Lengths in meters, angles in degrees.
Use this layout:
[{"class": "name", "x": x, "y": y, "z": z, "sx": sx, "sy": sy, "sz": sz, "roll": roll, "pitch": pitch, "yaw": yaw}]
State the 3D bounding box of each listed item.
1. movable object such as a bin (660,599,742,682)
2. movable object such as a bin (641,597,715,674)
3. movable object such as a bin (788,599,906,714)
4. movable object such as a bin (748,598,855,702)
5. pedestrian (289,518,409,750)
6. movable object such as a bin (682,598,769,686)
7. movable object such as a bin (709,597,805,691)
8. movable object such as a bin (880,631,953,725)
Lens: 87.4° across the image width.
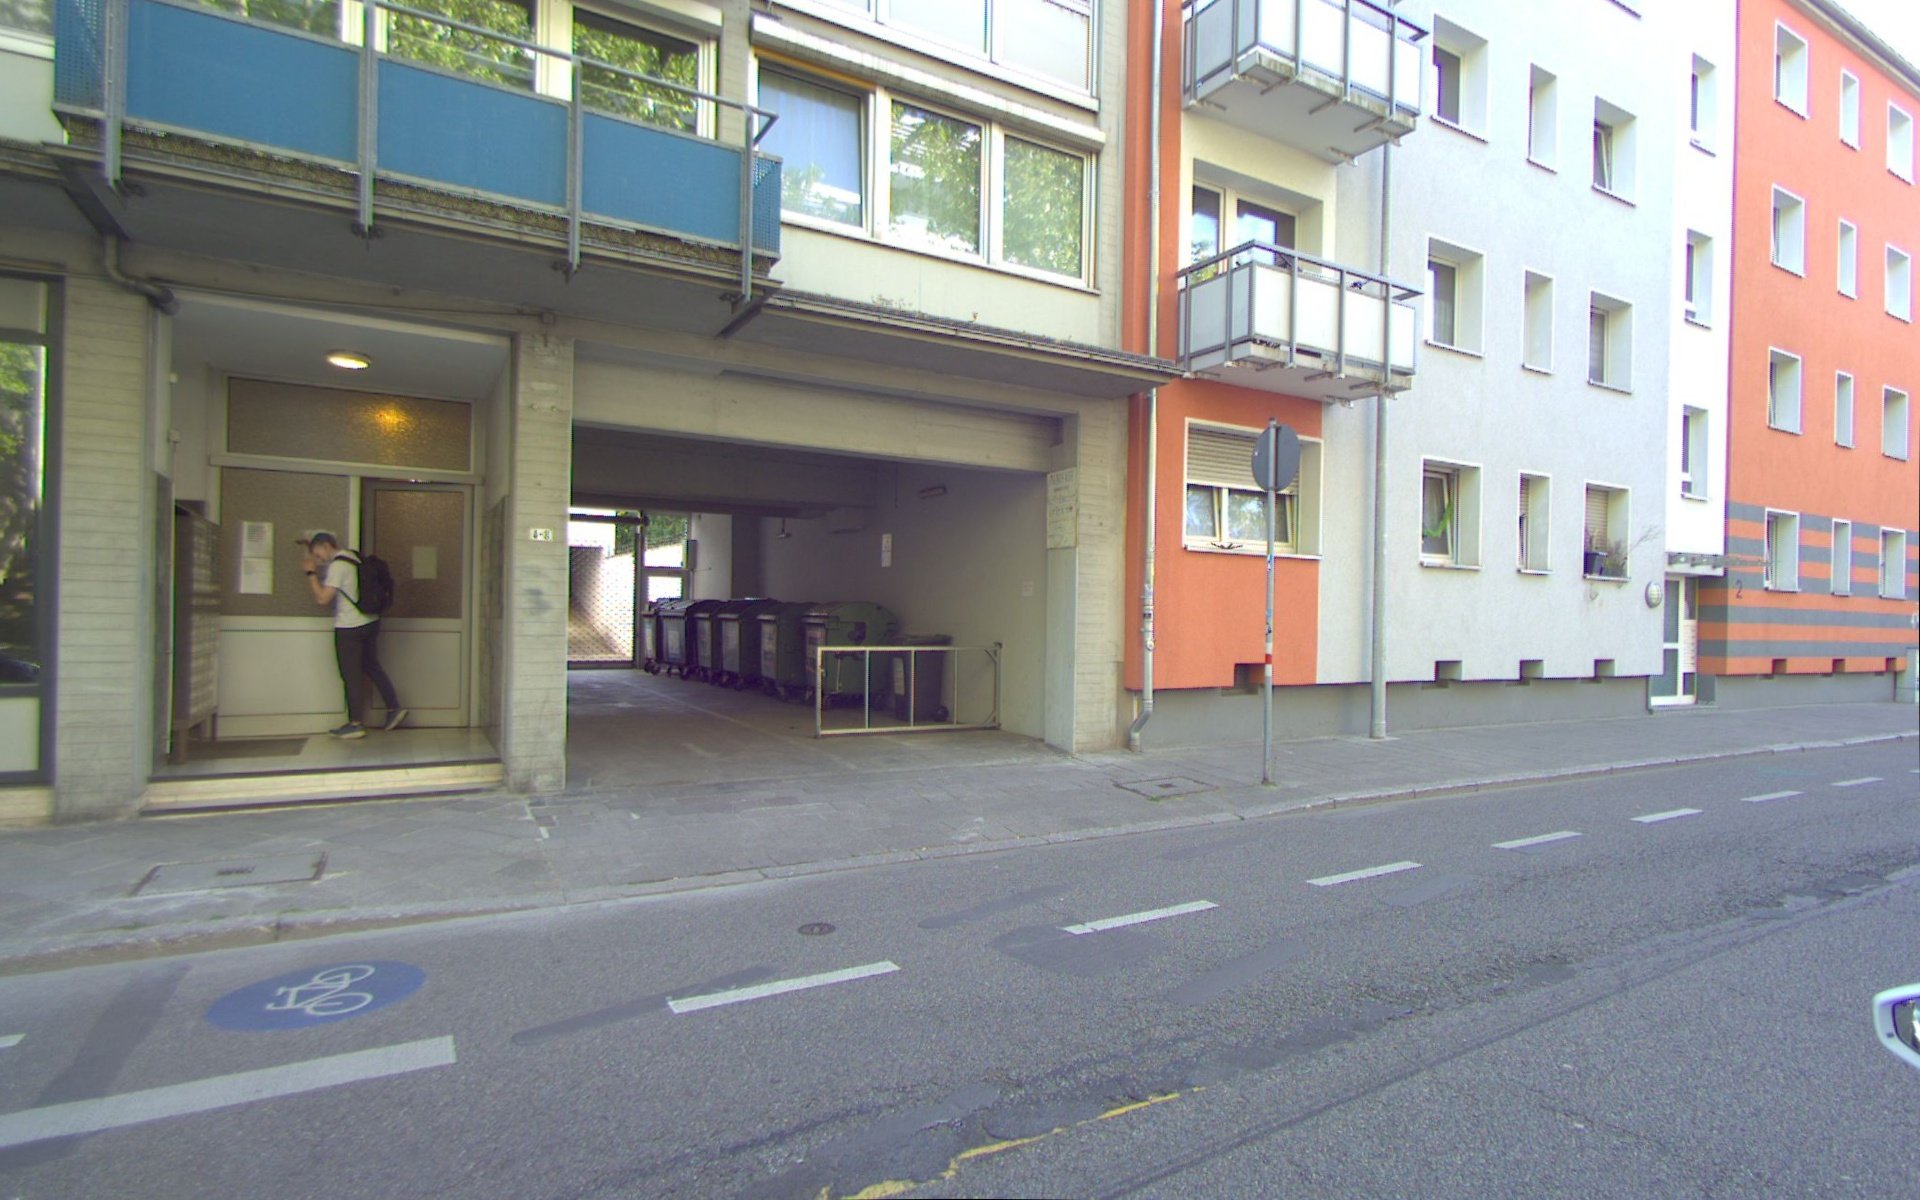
[{"class": "movable object such as a bin", "x": -4.841, "y": 0.731, "z": 18.749, "sx": 1.186, "sy": 1.467, "sz": 1.222, "roll": 2, "pitch": 0, "yaw": -30}, {"class": "movable object such as a bin", "x": -5.617, "y": 0.696, "z": 19.978, "sx": 1.186, "sy": 1.467, "sz": 1.027, "roll": 2, "pitch": 0, "yaw": -30}, {"class": "movable object such as a bin", "x": -1.564, "y": 0.749, "z": 13.798, "sx": 1.159, "sy": 1.467, "sz": 1.319, "roll": 2, "pitch": 0, "yaw": -30}, {"class": "movable object such as a bin", "x": -2.404, "y": 0.730, "z": 15.131, "sx": 1.186, "sy": 1.467, "sz": 1.319, "roll": 2, "pitch": 0, "yaw": -30}, {"class": "pedestrian", "x": -5.248, "y": 0.292, "z": 8.670, "sx": 0.776, "sy": 1.904, "sz": 0.578, "roll": 2, "pitch": 0, "yaw": -26}, {"class": "movable object such as a bin", "x": -4.142, "y": 0.729, "z": 17.706, "sx": 1.186, "sy": 1.467, "sz": 1.114, "roll": 2, "pitch": 0, "yaw": -30}, {"class": "movable object such as a bin", "x": -3.371, "y": 0.708, "z": 16.616, "sx": 1.186, "sy": 1.467, "sz": 1.319, "roll": 2, "pitch": 0, "yaw": -30}, {"class": "movable object such as a bin", "x": -0.536, "y": 0.949, "z": 12.407, "sx": 0.745, "sy": 1.116, "sz": 0.463, "roll": 2, "pitch": 0, "yaw": -30}]
